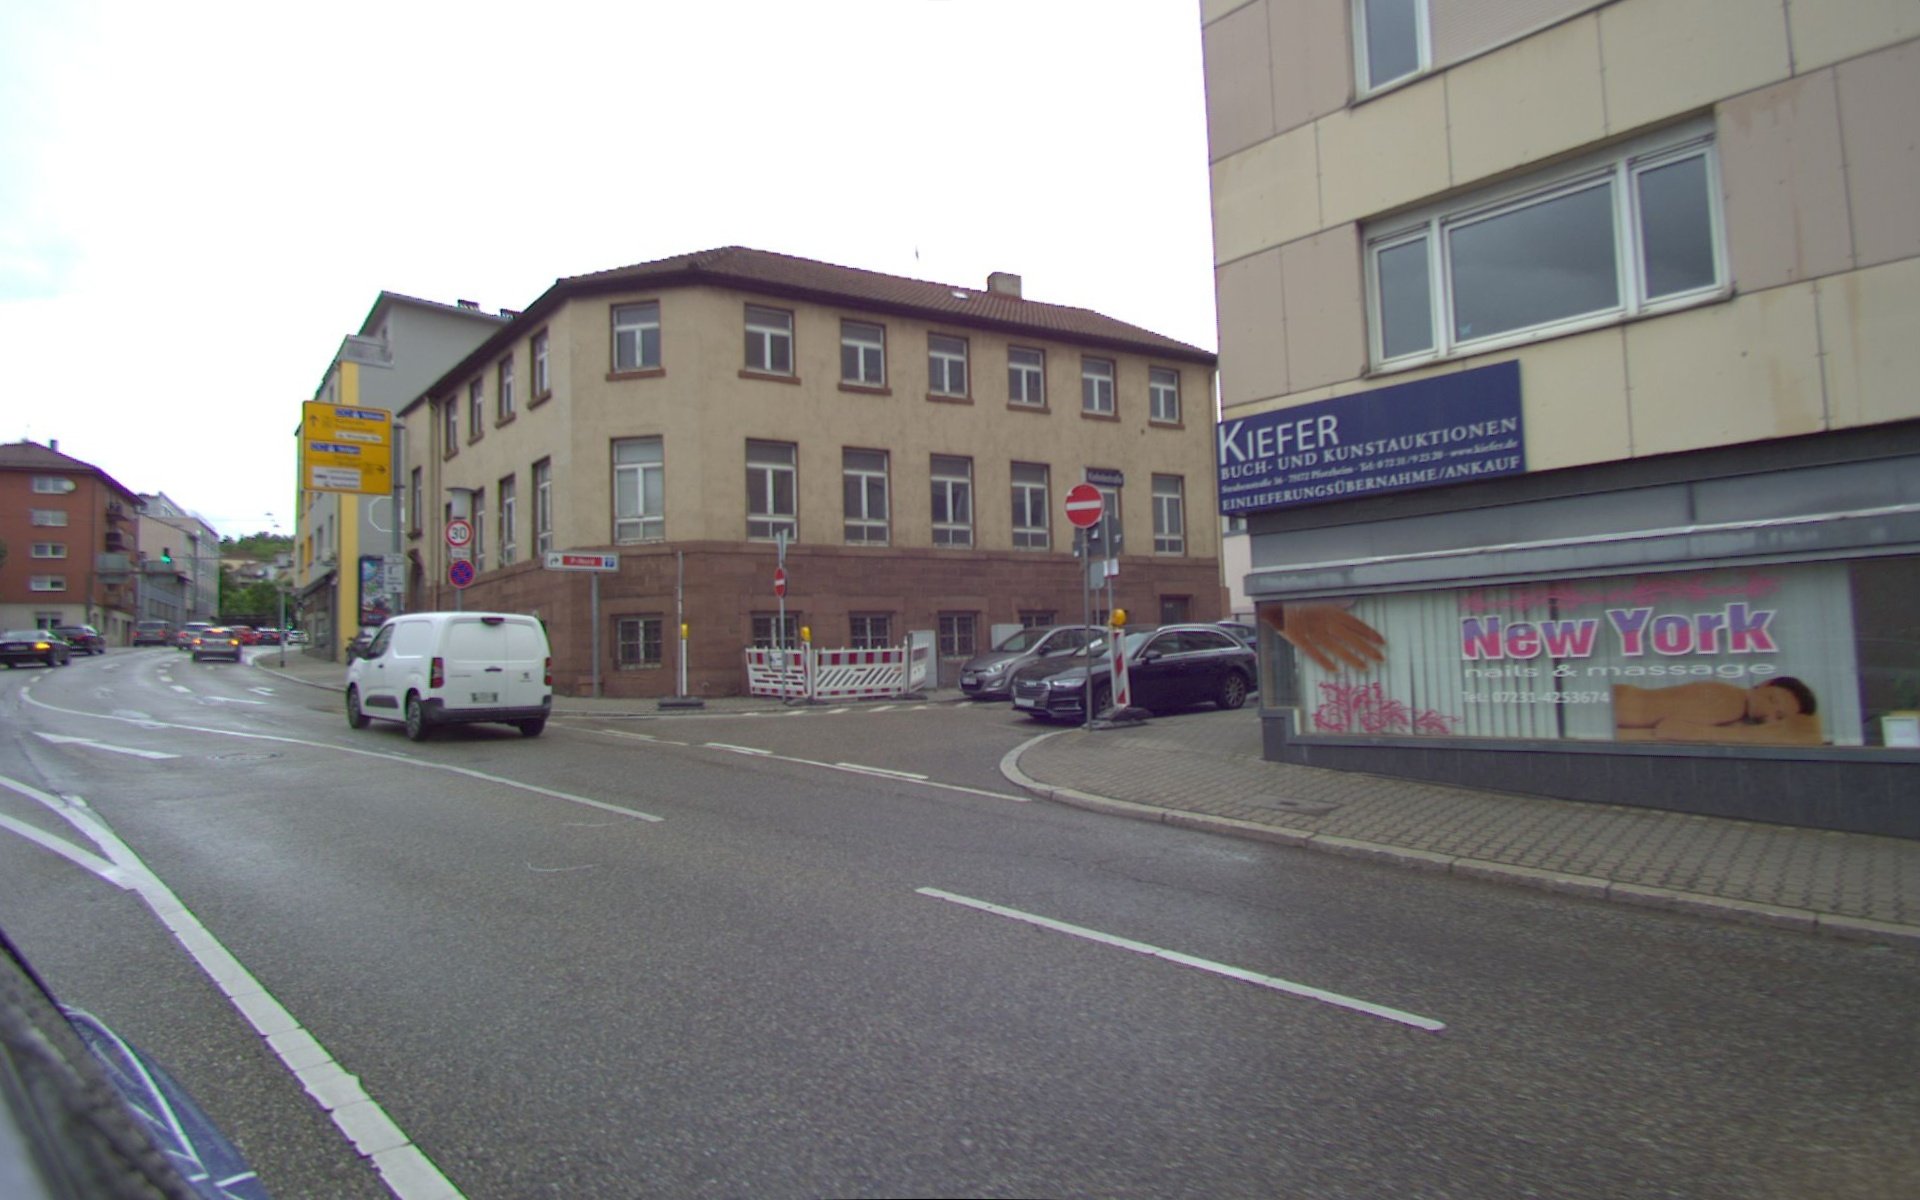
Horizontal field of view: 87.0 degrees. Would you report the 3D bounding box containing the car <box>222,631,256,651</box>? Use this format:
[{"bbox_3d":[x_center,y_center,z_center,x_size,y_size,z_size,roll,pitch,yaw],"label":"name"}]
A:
[{"bbox_3d":[-54.584,3.120,76.611,1.833,1.465,4.327,2,-3,-38],"label":"car"}]

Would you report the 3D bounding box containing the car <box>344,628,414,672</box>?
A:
[{"bbox_3d":[-22.176,1.883,38.553,1.833,1.465,3.971,-2,0,-36],"label":"car"}]

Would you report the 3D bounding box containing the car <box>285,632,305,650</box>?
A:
[{"bbox_3d":[-73.604,4.518,112.022,1.819,1.918,3.775,1,-2,-34],"label":"car"}]

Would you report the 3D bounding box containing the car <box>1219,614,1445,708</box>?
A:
[{"bbox_3d":[6.913,1.070,18.765,3.931,1.478,1.759,-1,-1,-29],"label":"car"}]

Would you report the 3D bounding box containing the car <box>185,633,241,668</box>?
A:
[{"bbox_3d":[-33.996,2.283,46.038,1.833,1.465,4.327,5,-5,-38],"label":"car"}]

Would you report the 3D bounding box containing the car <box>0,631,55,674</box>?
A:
[{"bbox_3d":[-33.533,1.837,35.998,1.834,1.465,4.325,2,-3,-40],"label":"car"}]

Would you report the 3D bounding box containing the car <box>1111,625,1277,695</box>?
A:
[{"bbox_3d":[5.576,1.417,24.122,3.453,1.478,1.759,-1,-4,-27],"label":"car"}]

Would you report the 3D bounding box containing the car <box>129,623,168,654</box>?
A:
[{"bbox_3d":[-51.842,2.465,64.689,1.819,1.918,3.773,1,-2,-37],"label":"car"}]

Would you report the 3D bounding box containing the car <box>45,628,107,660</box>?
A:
[{"bbox_3d":[-42.384,2.106,48.615,1.833,1.465,4.328,2,-3,-36],"label":"car"}]

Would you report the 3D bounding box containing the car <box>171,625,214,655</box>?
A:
[{"bbox_3d":[-44.904,2.328,59.155,1.834,1.711,4.326,2,-3,-39],"label":"car"}]

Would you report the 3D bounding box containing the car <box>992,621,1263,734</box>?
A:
[{"bbox_3d":[2.757,1.140,16.235,4.293,1.515,1.758,0,-1,-36],"label":"car"}]

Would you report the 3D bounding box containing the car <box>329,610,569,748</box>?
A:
[{"bbox_3d":[-7.867,1.112,15.410,4.265,1.817,1.841,-1,-3,43],"label":"car"}]

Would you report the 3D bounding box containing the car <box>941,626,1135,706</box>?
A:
[{"bbox_3d":[1.685,1.380,21.511,3.749,1.478,1.758,-1,-4,-33],"label":"car"}]
